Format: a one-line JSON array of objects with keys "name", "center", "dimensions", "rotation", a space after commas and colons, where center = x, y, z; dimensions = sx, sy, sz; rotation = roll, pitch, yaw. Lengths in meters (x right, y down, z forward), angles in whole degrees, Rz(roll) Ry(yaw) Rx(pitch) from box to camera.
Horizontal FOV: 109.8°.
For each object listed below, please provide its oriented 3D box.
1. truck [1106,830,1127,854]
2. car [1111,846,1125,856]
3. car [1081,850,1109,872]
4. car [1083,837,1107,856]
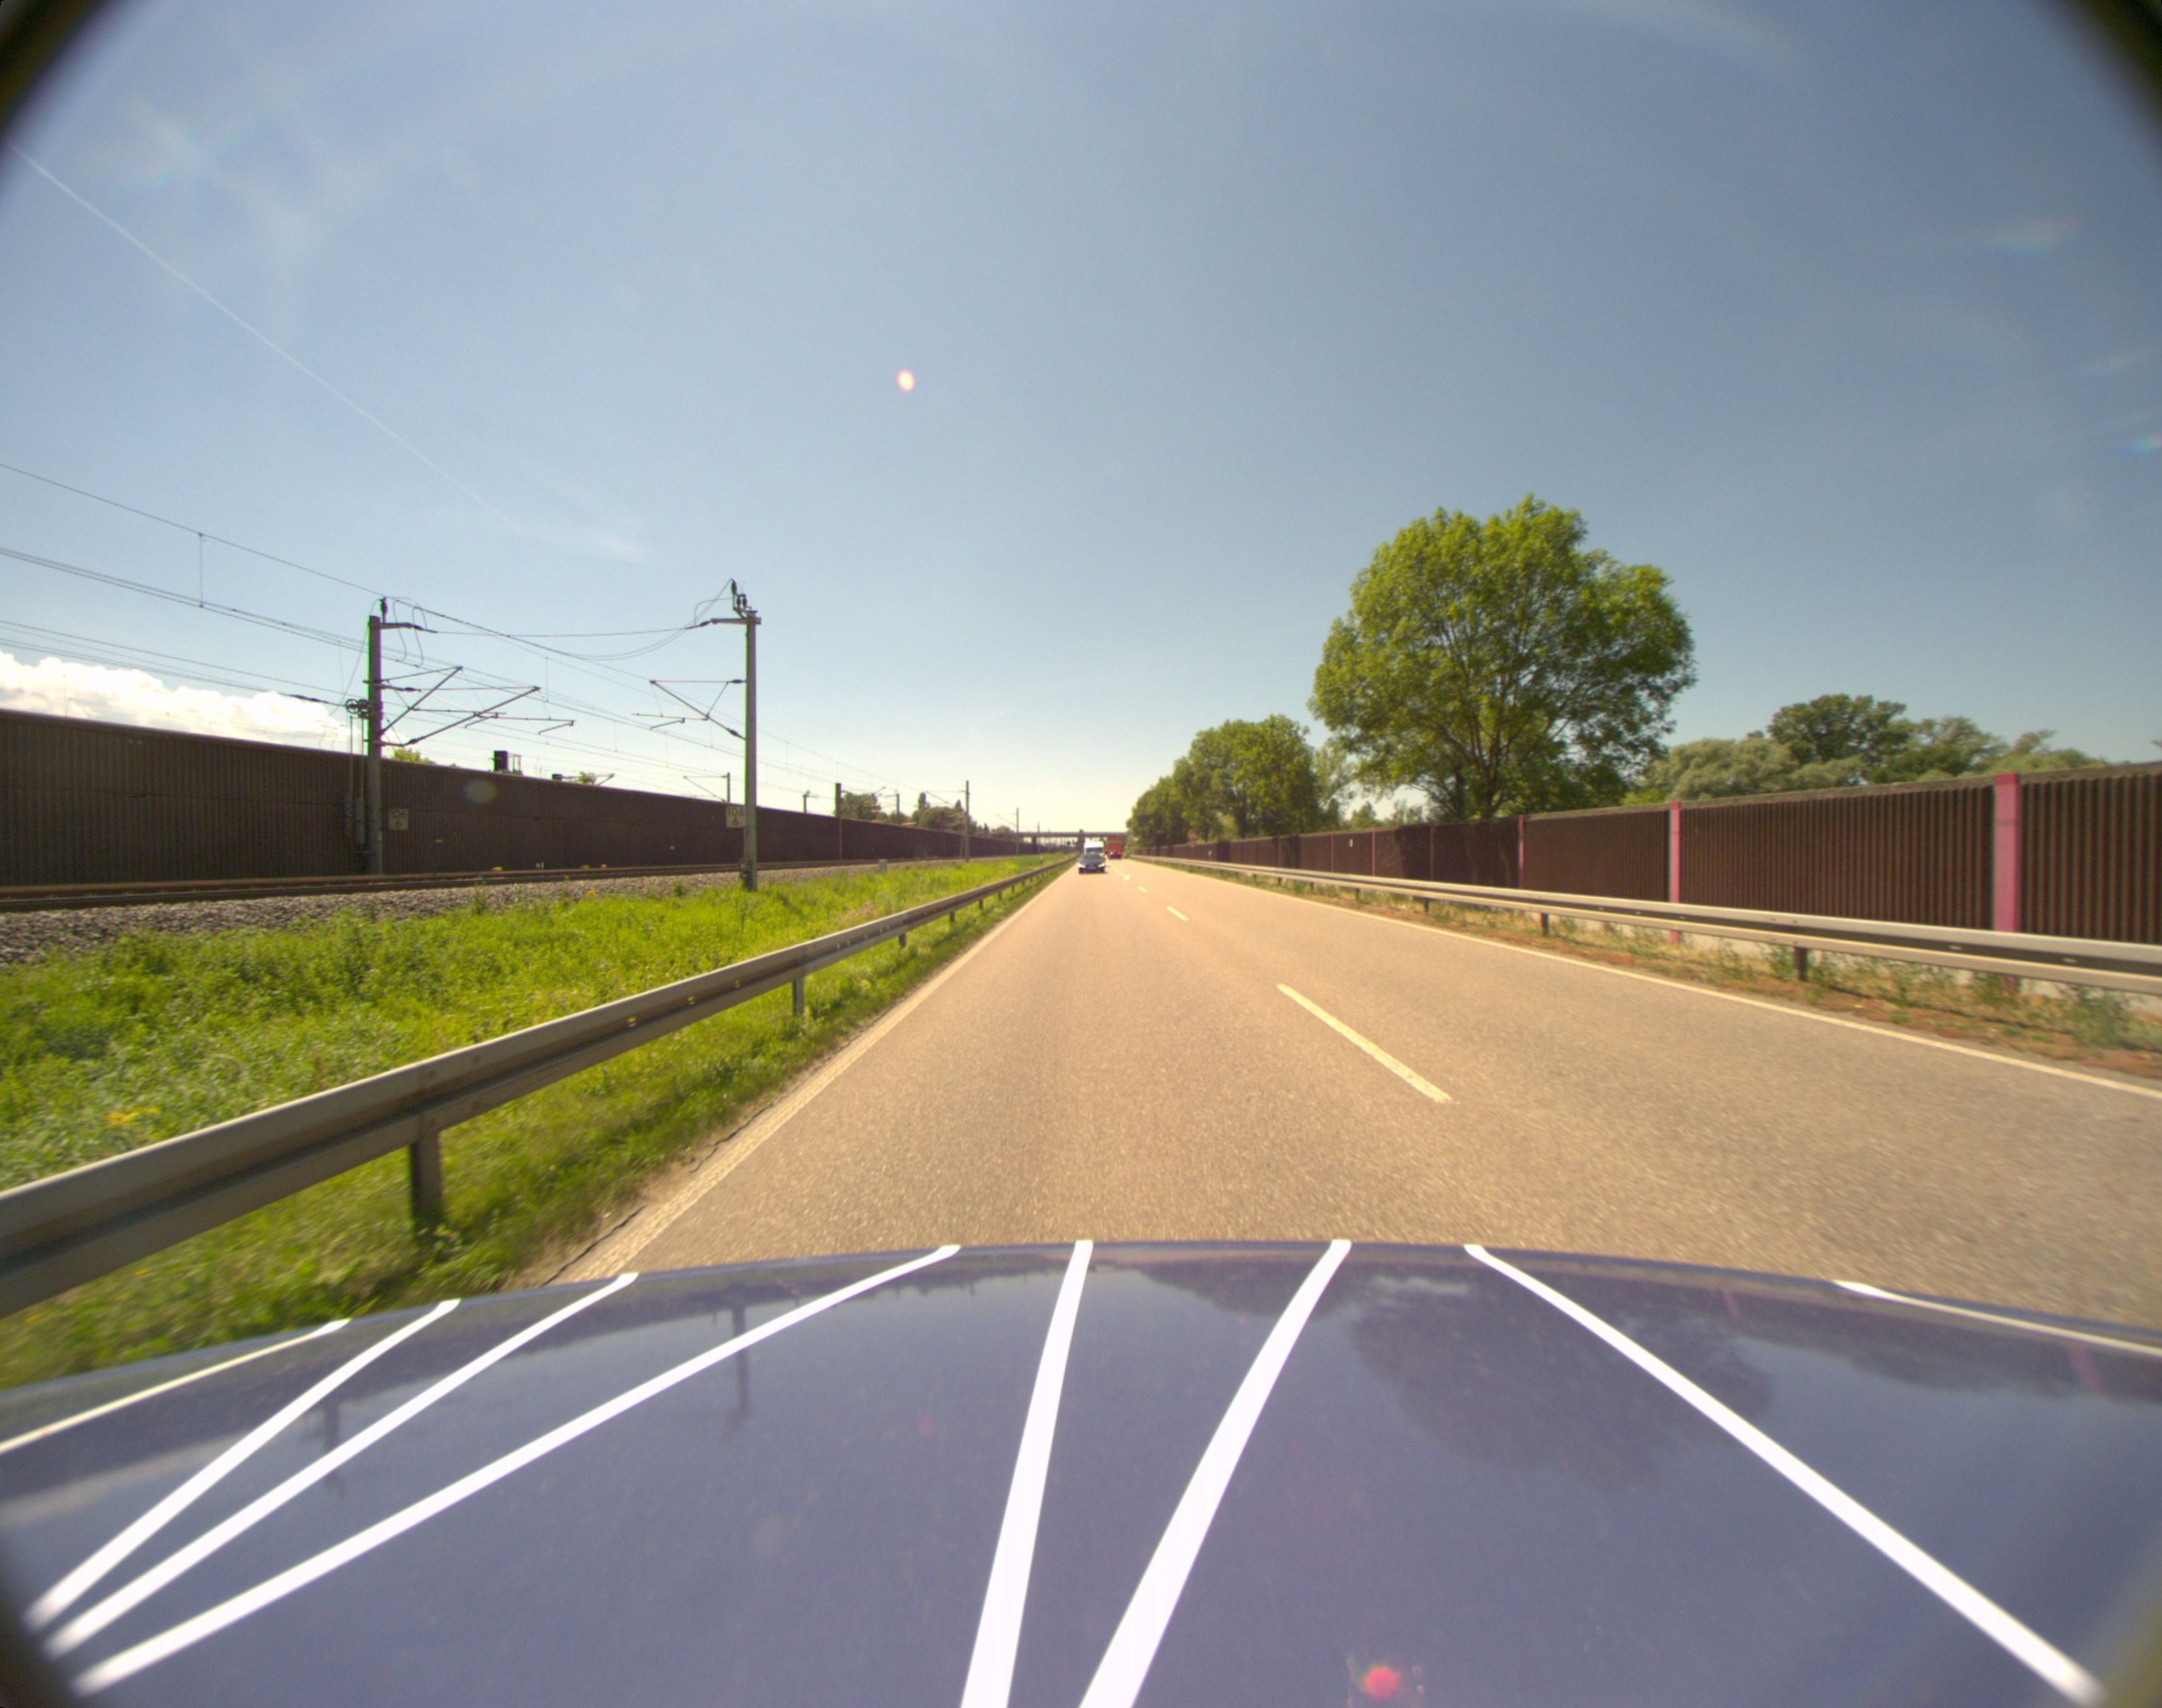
[{"name": "truck", "center": [6.221, -2.080, 134.977], "dimensions": [3.132, 3.942, 9.717], "rotation": [-3, 1, 1]}, {"name": "car", "center": [5.983, -0.532, 122.875], "dimensions": [1.994, 1.486, 4.492], "rotation": [-3, 1, 1]}, {"name": "car", "center": [0.922, 0.445, 51.515], "dimensions": [1.758, 1.313, 4.000], "rotation": [-3, 1, 1]}, {"name": "car", "center": [1.357, -0.719, 74.697], "dimensions": [2.161, 1.702, 4.492], "rotation": [-3, 1, 1]}]
